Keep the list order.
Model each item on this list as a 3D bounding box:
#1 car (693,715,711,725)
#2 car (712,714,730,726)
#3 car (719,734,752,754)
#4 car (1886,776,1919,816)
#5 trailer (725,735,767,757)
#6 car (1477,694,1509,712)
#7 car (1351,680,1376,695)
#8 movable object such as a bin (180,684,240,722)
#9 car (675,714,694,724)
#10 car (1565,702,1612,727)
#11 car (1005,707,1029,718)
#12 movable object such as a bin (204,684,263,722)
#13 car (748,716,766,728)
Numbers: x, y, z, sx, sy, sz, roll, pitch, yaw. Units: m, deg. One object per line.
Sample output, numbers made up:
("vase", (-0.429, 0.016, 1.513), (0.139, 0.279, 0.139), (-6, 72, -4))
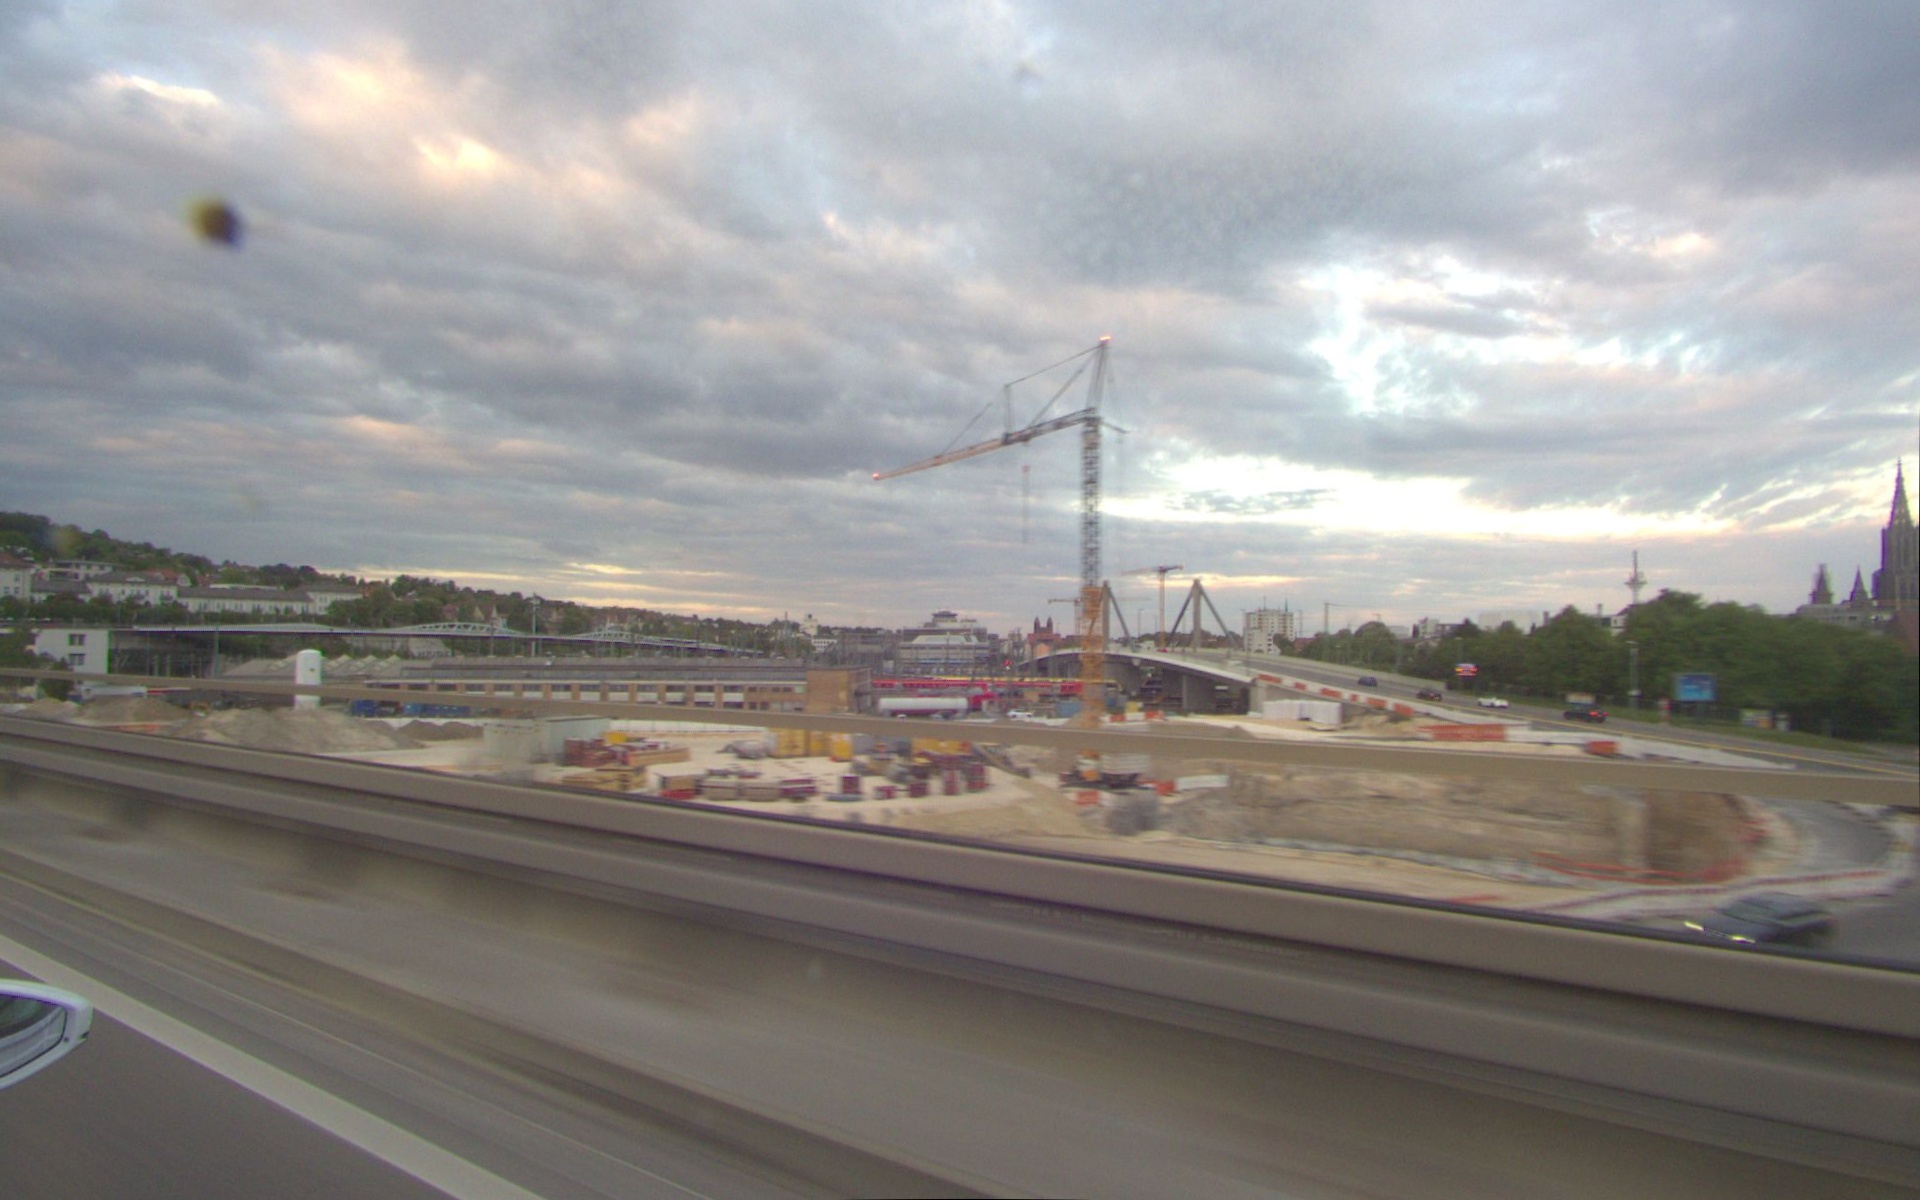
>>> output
("car", (-38.993, 18.171, 151.447), (1.835, 1.435, 4.009), (4, -7, -2))
("car", (-36.207, 18.180, 151.642), (1.835, 1.733, 4.009), (4, -7, -2))
("car", (-19.296, 12.333, 86.014), (1.510, 1.457, 3.779), (8, -8, -31))
("car", (52.418, 10.750, 54.779), (1.623, 1.639, 3.754), (0, -2, 28))
("trailer", (-16.406, 11.137, 76.652), (1.761, 1.256, 4.228), (4, -4, -32))
("car", (63.880, 12.385, 120.062), (1.565, 1.760, 3.705), (5, -2, -6))
("car", (60.533, 13.131, 150.164), (1.744, 1.761, 3.999), (5, -1, -6))
("movable object such as a bin", (-93.967, 12.930, 125.593), (2.733, 4.356, 4.965), (2, -7, 14))
("car", (-41.791, 18.052, 152.006), (1.835, 1.435, 4.009), (4, -7, -2))
("car", (65.029, 11.836, 103.717), (1.962, 2.038, 4.000), (5, -2, -6))
("car", (9.439, 18.669, 166.625), (3.619, 1.593, 1.440), (6, -7, -12))
("movable object such as a bin", (-90.255, 12.898, 124.500), (2.733, 4.356, 4.965), (2, -7, 14))
("car", (-30.568, 18.438, 150.906), (1.835, 1.669, 4.009), (4, -7, -2))
